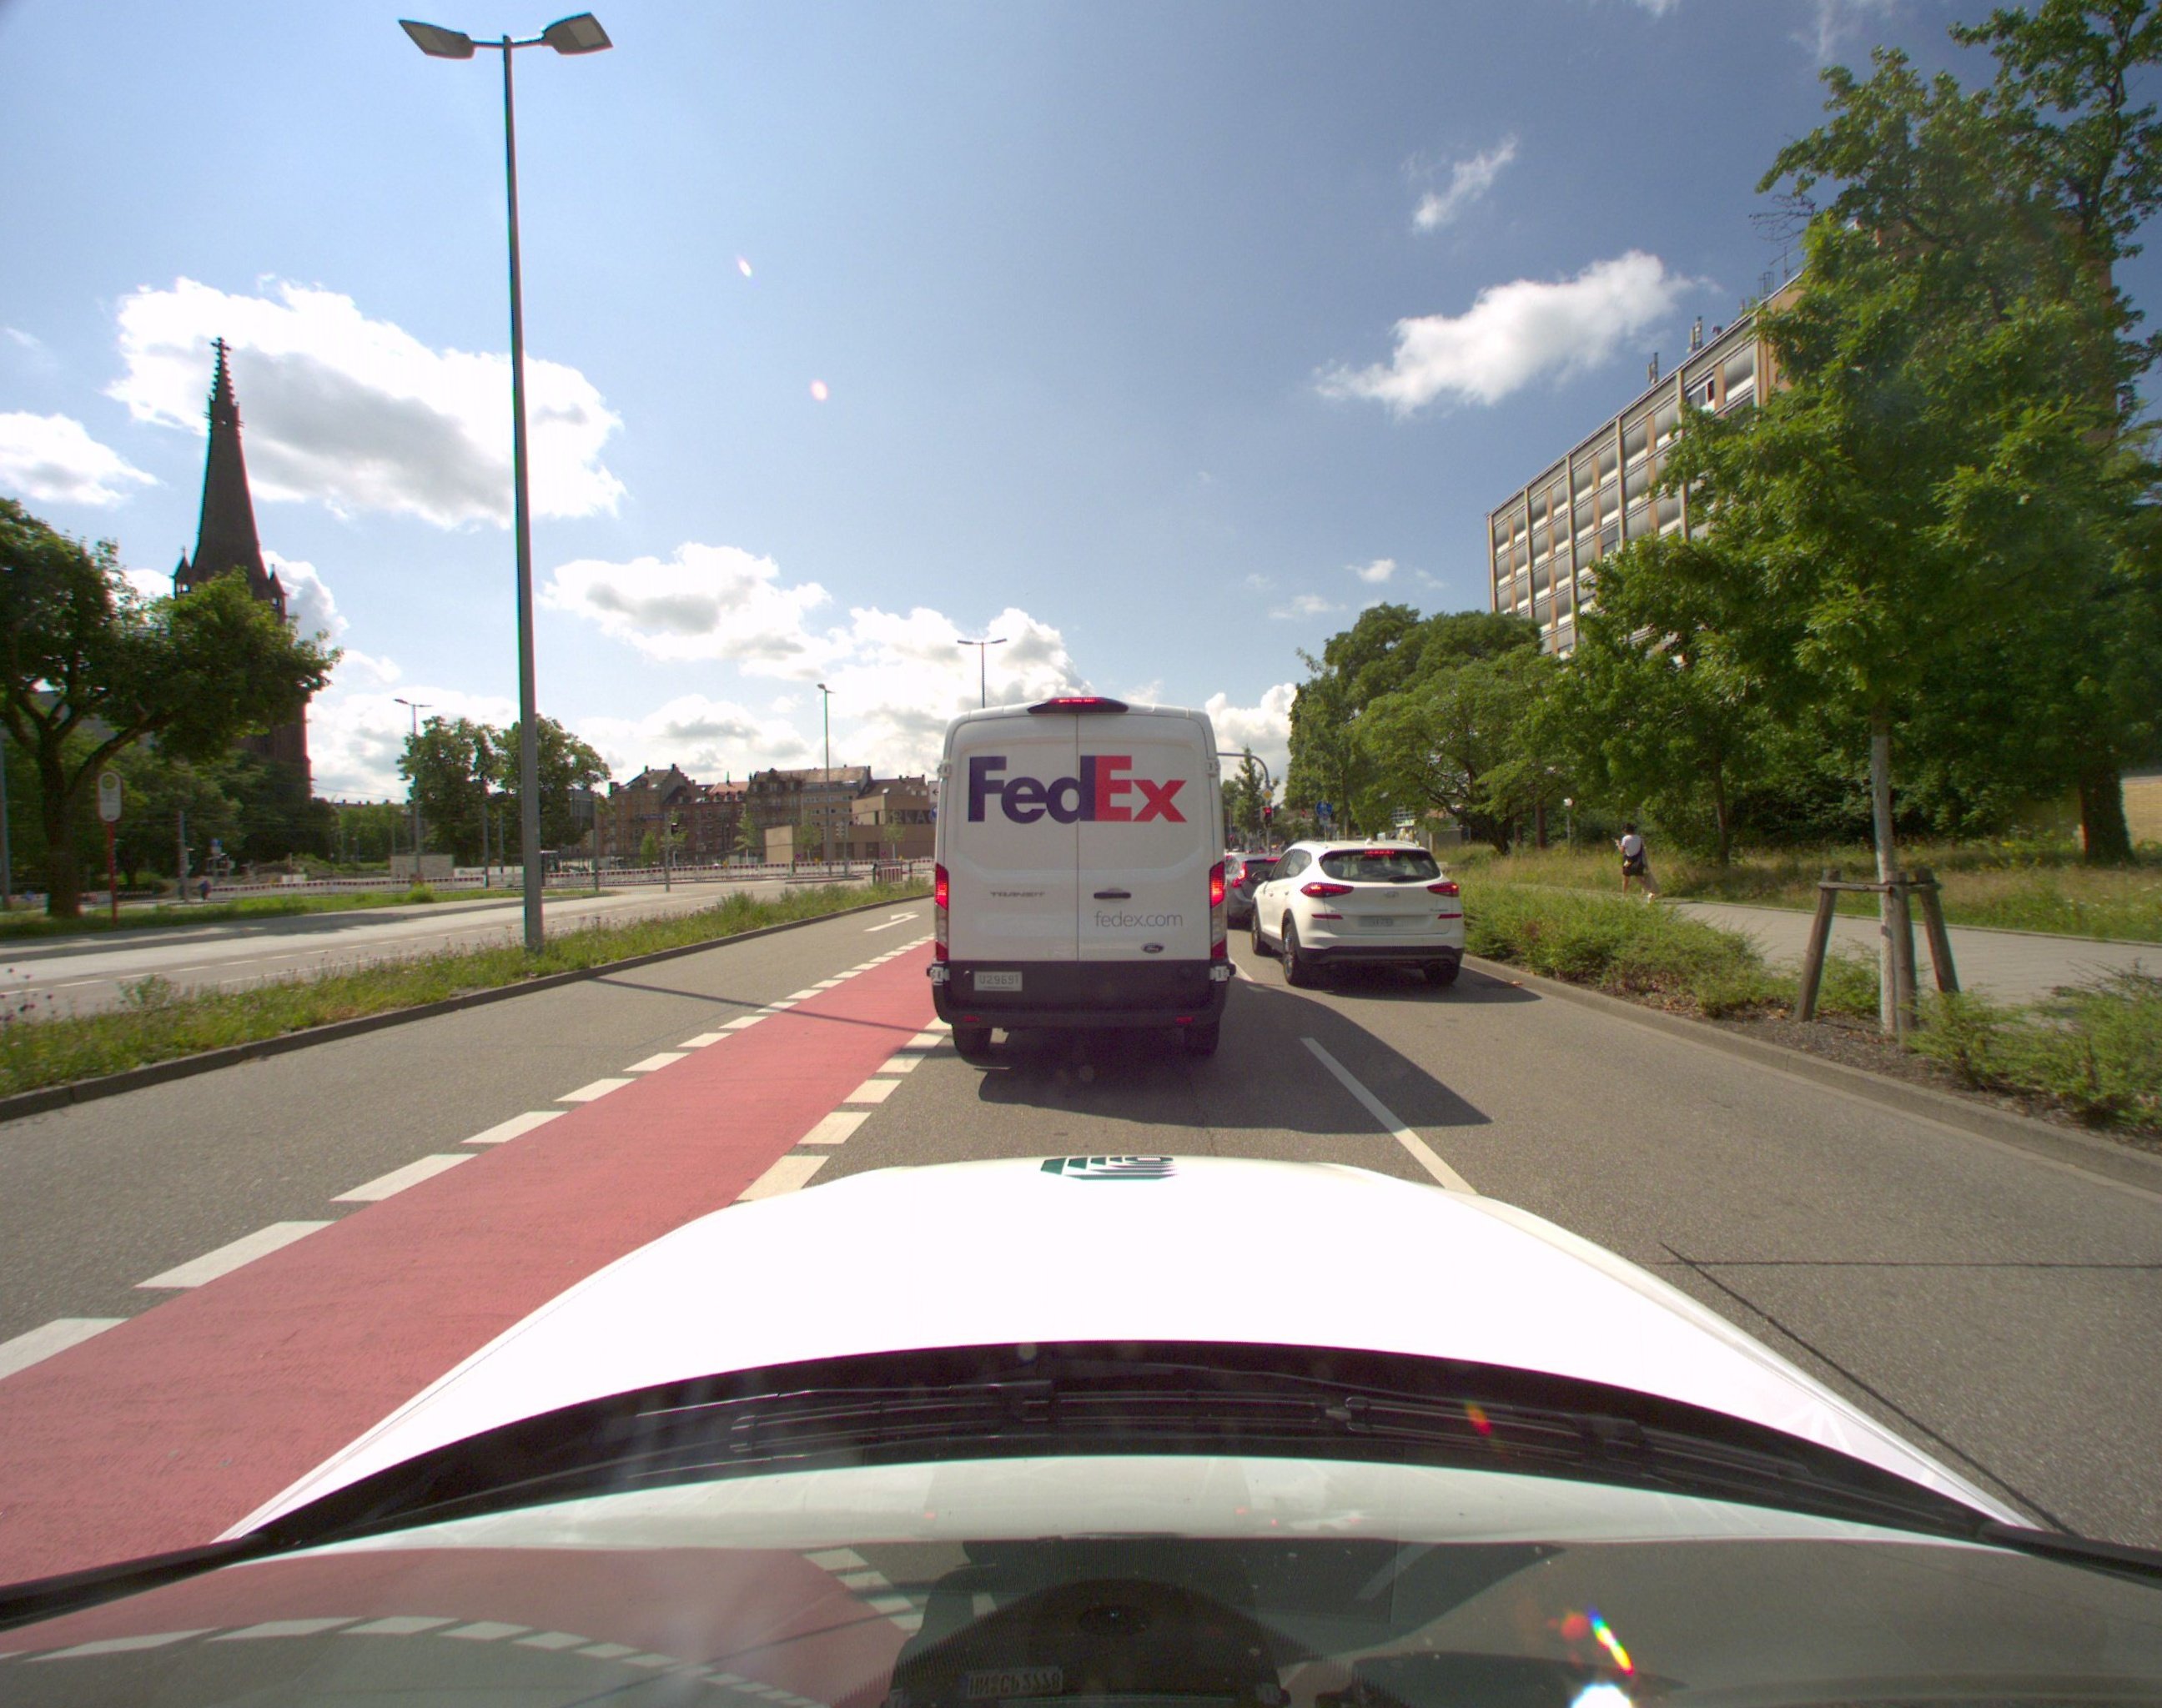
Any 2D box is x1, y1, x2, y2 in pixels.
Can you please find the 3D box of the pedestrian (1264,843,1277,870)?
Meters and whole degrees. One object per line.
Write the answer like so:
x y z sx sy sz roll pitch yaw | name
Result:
13.161 0.150 56.533 0.752 1.849 0.820 -2 0 20 | pedestrian

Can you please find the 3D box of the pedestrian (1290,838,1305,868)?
13.780 -0.082 51.881 0.755 1.849 0.817 -2 0 5 | pedestrian

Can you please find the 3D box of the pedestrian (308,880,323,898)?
-72.261 3.275 76.907 0.860 1.663 0.745 -2 0 -29 | pedestrian

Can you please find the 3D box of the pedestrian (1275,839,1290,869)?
12.781 -0.024 51.733 0.755 1.849 0.817 -2 0 3 | pedestrian

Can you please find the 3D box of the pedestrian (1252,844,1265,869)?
13.023 0.179 59.764 0.810 1.849 0.762 -2 0 5 | pedestrian

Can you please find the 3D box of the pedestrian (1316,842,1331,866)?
18.731 0.019 62.898 0.759 1.849 0.813 -2 0 -11 | pedestrian

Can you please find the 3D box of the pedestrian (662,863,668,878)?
-44.507 1.744 87.052 0.420 1.652 0.420 -1 -1 36 | pedestrian

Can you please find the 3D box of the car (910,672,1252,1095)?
0.123 0.177 7.301 2.064 2.581 4.432 -2 0 3 | car

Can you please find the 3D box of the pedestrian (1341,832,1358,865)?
15.196 -0.312 46.112 0.755 1.789 0.818 -2 0 7 | pedestrian

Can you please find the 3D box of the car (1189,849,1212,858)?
23.450 -0.082 159.978 4.217 1.498 1.741 -2 0 1 | car

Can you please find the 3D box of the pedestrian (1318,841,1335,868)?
16.784 0.023 55.707 0.758 1.849 0.814 -2 0 -8 | pedestrian

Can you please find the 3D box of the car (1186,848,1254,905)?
3.920 0.585 23.397 1.493 1.464 3.477 -2 0 3 | car

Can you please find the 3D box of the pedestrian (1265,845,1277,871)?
13.723 0.317 58.876 0.753 1.849 0.820 -2 0 16 | pedestrian

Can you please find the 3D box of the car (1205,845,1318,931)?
3.612 0.614 16.902 1.684 1.549 3.724 -2 0 3 | car

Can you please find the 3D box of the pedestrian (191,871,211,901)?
-61.563 2.226 56.949 0.644 2.013 0.632 -2 0 -1 | pedestrian

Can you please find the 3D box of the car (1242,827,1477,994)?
3.267 0.574 10.396 1.807 1.678 3.978 -2 0 3 | car

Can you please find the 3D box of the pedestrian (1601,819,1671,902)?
10.732 0.120 15.774 0.756 1.557 0.816 -2 0 1 | pedestrian

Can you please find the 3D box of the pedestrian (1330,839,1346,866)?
17.669 -0.088 55.953 0.758 1.849 0.814 -2 0 -6 | pedestrian

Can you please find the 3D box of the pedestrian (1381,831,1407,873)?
12.721 -0.091 33.146 0.755 1.655 0.817 -2 0 5 | pedestrian
